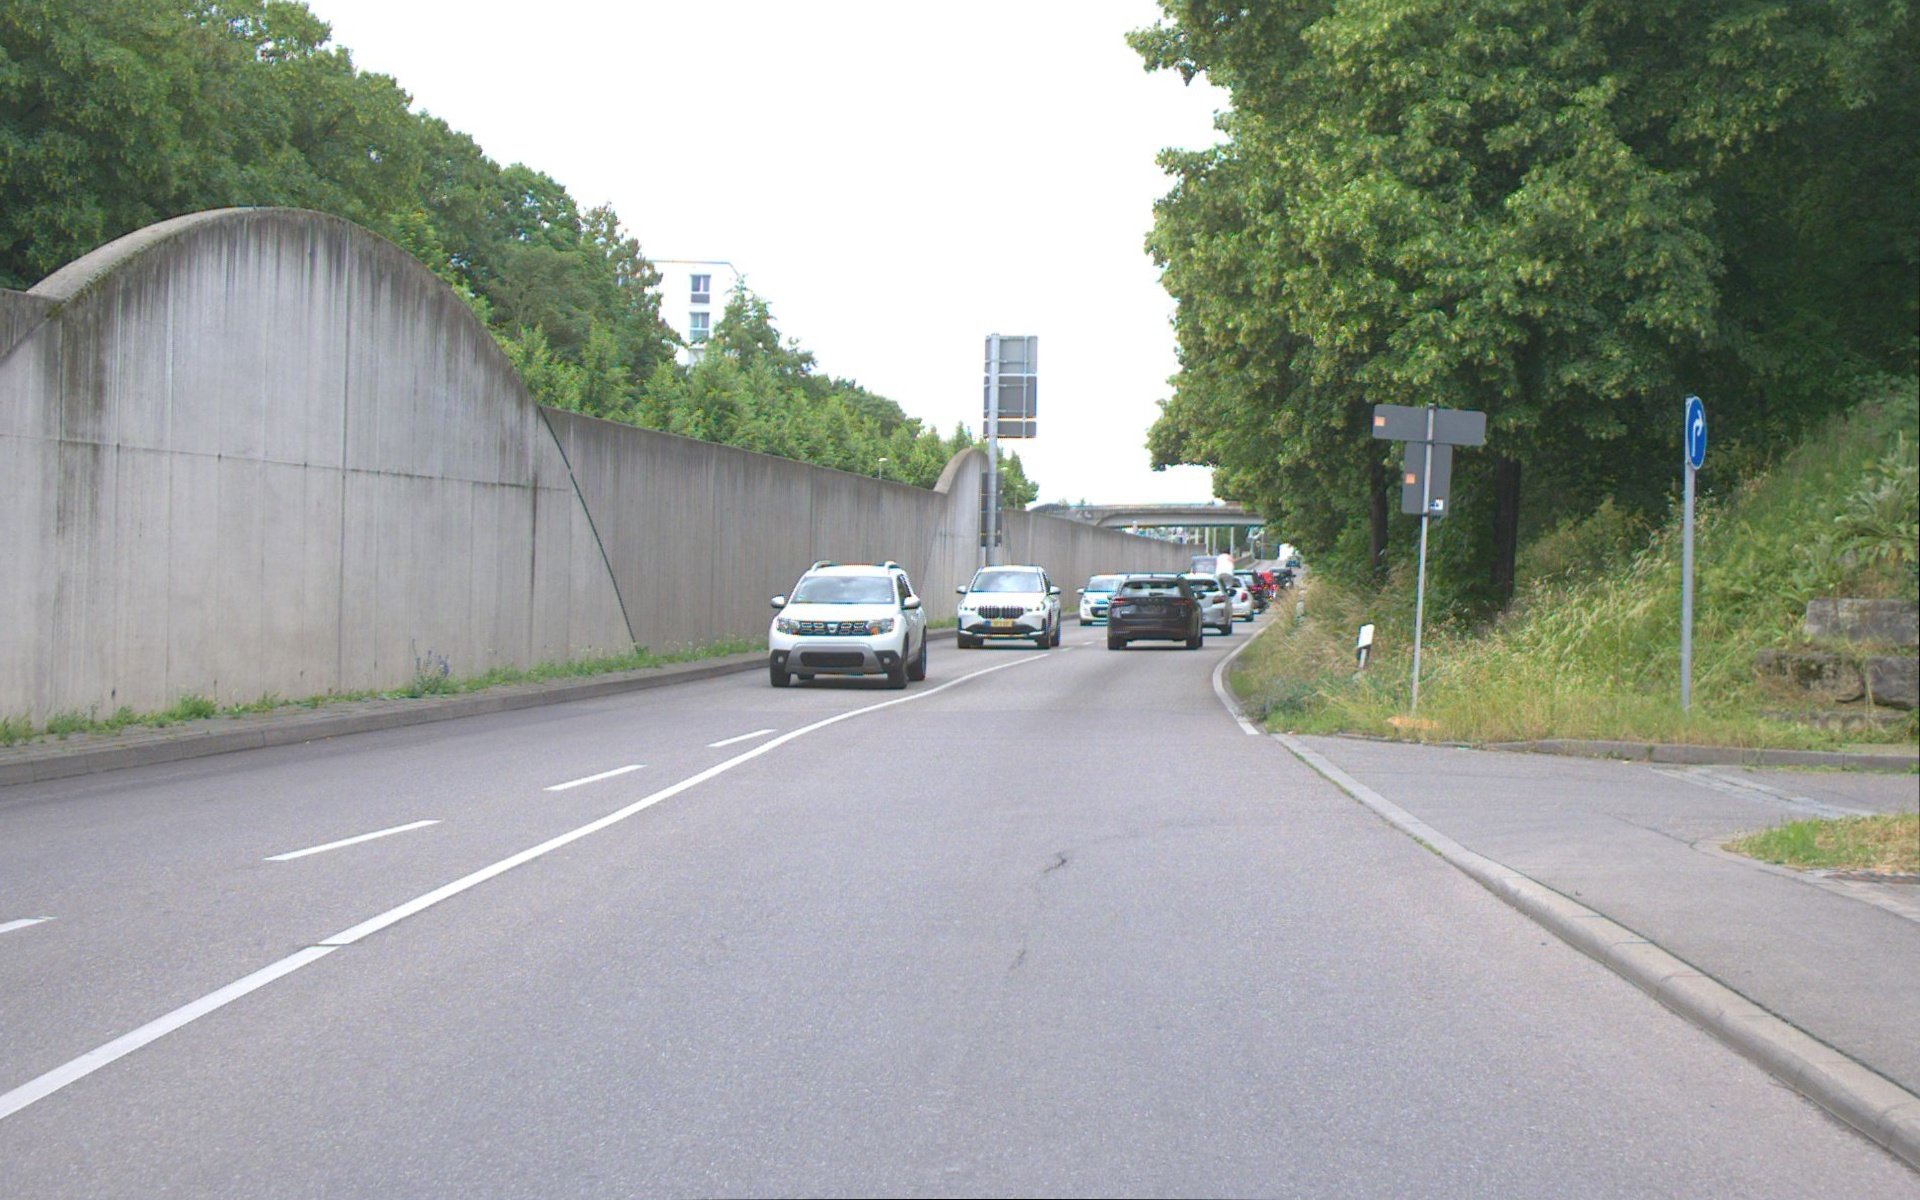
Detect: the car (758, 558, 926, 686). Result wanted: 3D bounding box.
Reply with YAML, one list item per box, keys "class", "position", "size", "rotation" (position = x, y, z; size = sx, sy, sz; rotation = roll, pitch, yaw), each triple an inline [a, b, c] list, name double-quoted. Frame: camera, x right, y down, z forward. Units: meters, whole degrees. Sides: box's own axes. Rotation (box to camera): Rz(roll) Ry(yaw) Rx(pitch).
- class: "car"
  position: [-1.546, 0.266, 46.613]
  size: [1.862, 1.626, 4.208]
  rotation: [1, 1, 4]

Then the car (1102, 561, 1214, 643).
- class: "car"
  position: [3.939, 0.068, 67.777]
  size: [1.755, 1.518, 4.034]
  rotation: [1, -1, 10]

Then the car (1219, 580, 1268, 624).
- class: "car"
  position: [10.814, 0.093, 131.030]
  size: [1.754, 1.528, 4.253]
  rotation: [4, -1, 5]

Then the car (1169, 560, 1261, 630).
- class: "car"
  position: [6.239, -0.105, 83.865]
  size: [1.755, 1.518, 4.034]
  rotation: [3, -1, 10]

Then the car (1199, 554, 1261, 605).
- class: "car"
  position: [8.609, -0.646, 109.591]
  size: [1.867, 1.485, 4.256]
  rotation: [3, 0, 4]

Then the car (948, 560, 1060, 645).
- class: "car"
  position: [0.911, 0.024, 69.026]
  size: [1.890, 1.626, 4.425]
  rotation: [1, 1, 5]

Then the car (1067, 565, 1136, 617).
- class: "car"
  position: [4.193, -0.277, 101.562]
  size: [1.915, 1.490, 4.208]
  rotation: [1, 1, 4]
